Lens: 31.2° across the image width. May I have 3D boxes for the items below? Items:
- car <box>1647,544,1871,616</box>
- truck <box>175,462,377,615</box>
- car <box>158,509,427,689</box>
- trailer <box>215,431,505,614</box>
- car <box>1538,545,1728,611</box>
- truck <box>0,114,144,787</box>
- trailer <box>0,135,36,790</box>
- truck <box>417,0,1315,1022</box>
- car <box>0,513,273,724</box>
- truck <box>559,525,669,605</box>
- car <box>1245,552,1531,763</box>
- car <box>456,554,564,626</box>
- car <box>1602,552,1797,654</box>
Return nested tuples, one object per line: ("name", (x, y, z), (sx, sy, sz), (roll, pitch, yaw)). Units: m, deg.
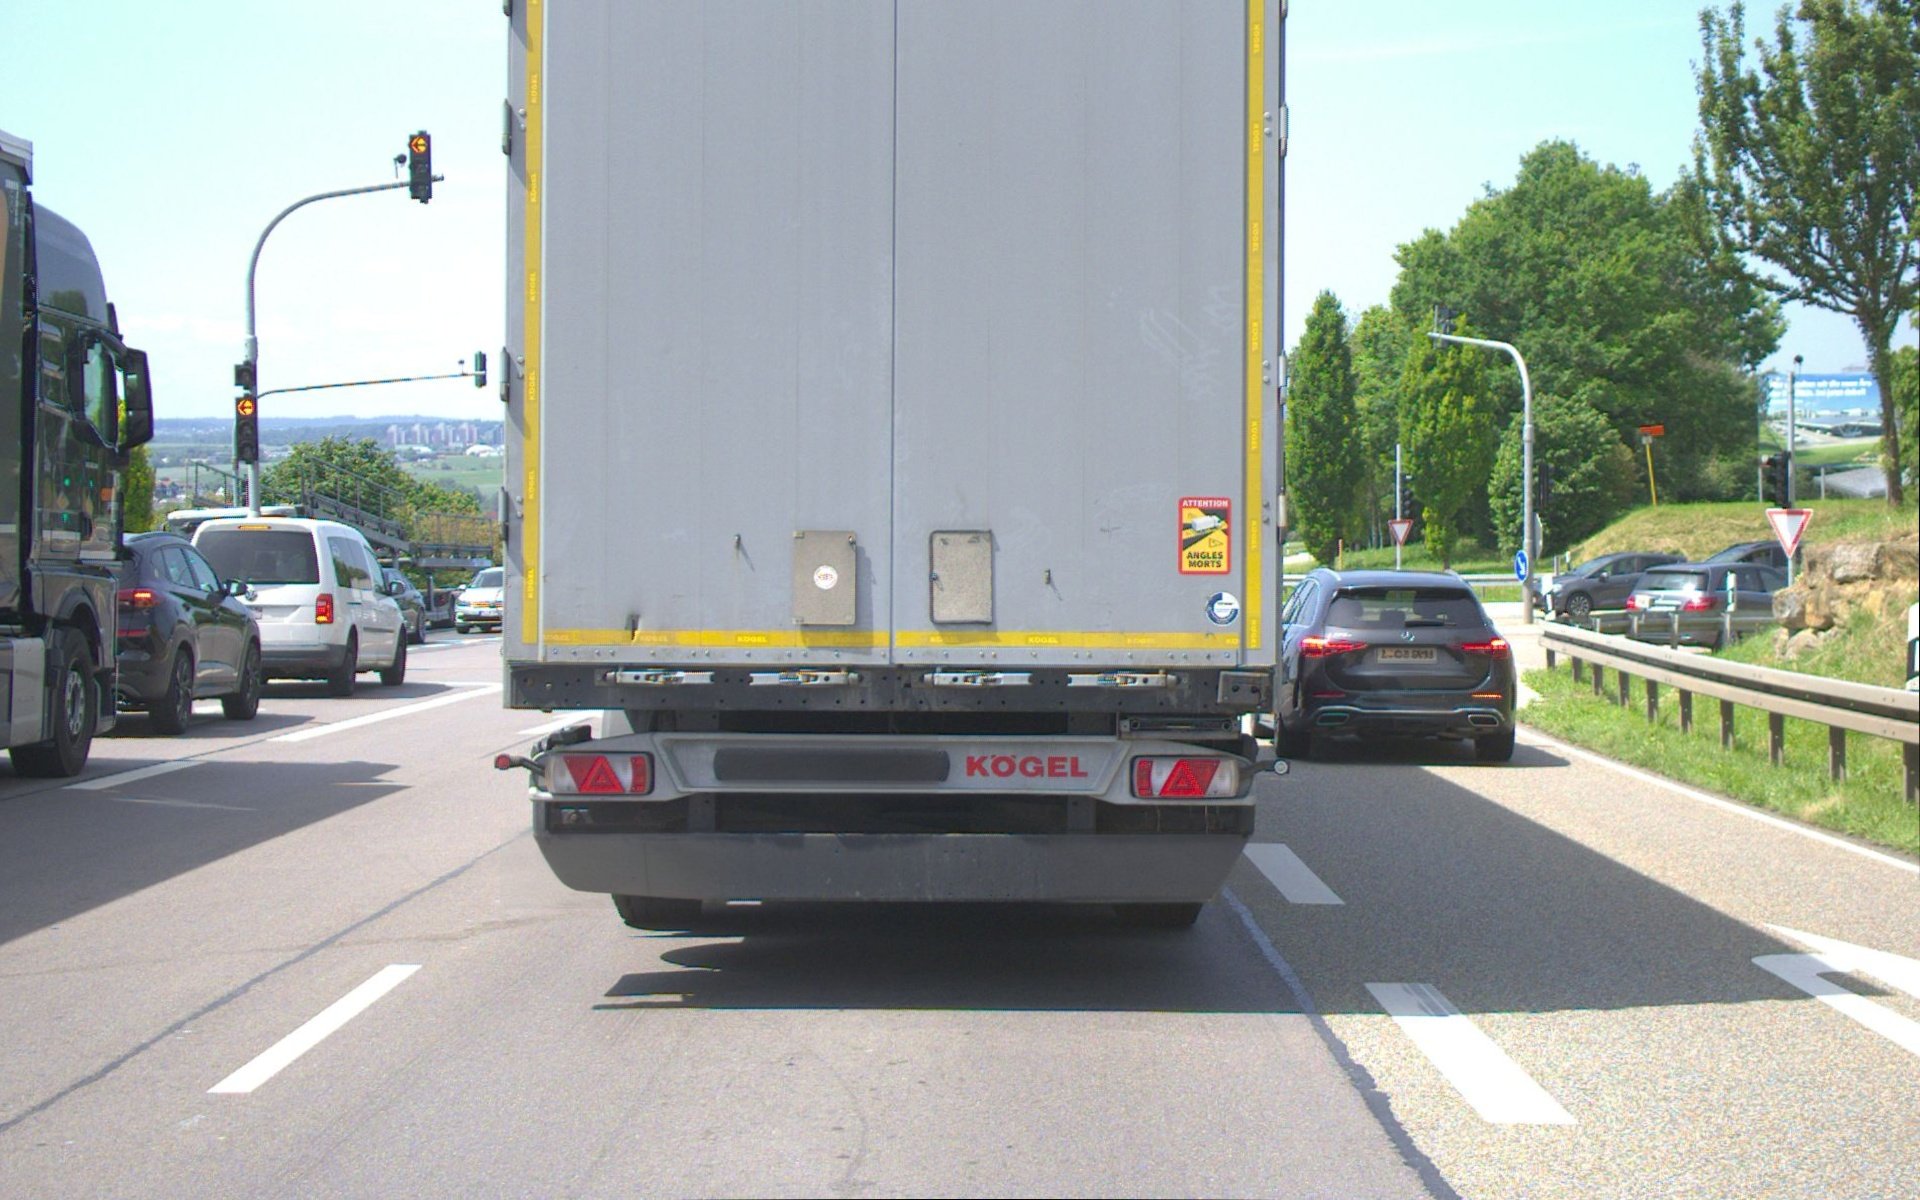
("car", (17.128, -0.430, 73.736), (4.357, 1.505, 1.717), (0, 0, -10))
("truck", (-14.092, -1.235, 71.263), (2.799, 3.003, 5.989), (0, 0, 2))
("car", (-7.126, -0.047, 37.165), (1.768, 1.792, 4.752), (1, 1, 3))
("trailer", (-13.728, -1.648, 81.004), (2.639, 3.750, 19.798), (0, 0, 2))
("car", (15.595, -0.511, 79.793), (3.986, 1.505, 1.716), (0, 0, -7))
("truck", (-7.099, -0.906, 20.918), (2.783, 3.999, 5.971), (1, 1, 0))
("trailer", (-7.135, -0.756, 14.327), (2.783, 3.900, 13.787), (1, 1, 0))
("truck", (-0.326, -0.687, 16.585), (2.799, 3.916, 11.342), (1, 0, 0))
("car", (-7.177, 0.110, 29.348), (1.856, 1.652, 4.349), (1, 1, -2))
("truck", (-9.571, -0.954, 95.449), (1.967, 2.150, 4.622), (-1, 0, 8))
("car", (3.326, 0.413, 27.450), (1.746, 1.527, 4.298), (1, 0, 0))
("car", (-9.971, -0.221, 76.445), (1.737, 1.523, 4.000), (1, 0, 2))
("car", (12.332, 0.049, 57.163), (1.800, 1.634, 3.992), (1, 0, 34))
